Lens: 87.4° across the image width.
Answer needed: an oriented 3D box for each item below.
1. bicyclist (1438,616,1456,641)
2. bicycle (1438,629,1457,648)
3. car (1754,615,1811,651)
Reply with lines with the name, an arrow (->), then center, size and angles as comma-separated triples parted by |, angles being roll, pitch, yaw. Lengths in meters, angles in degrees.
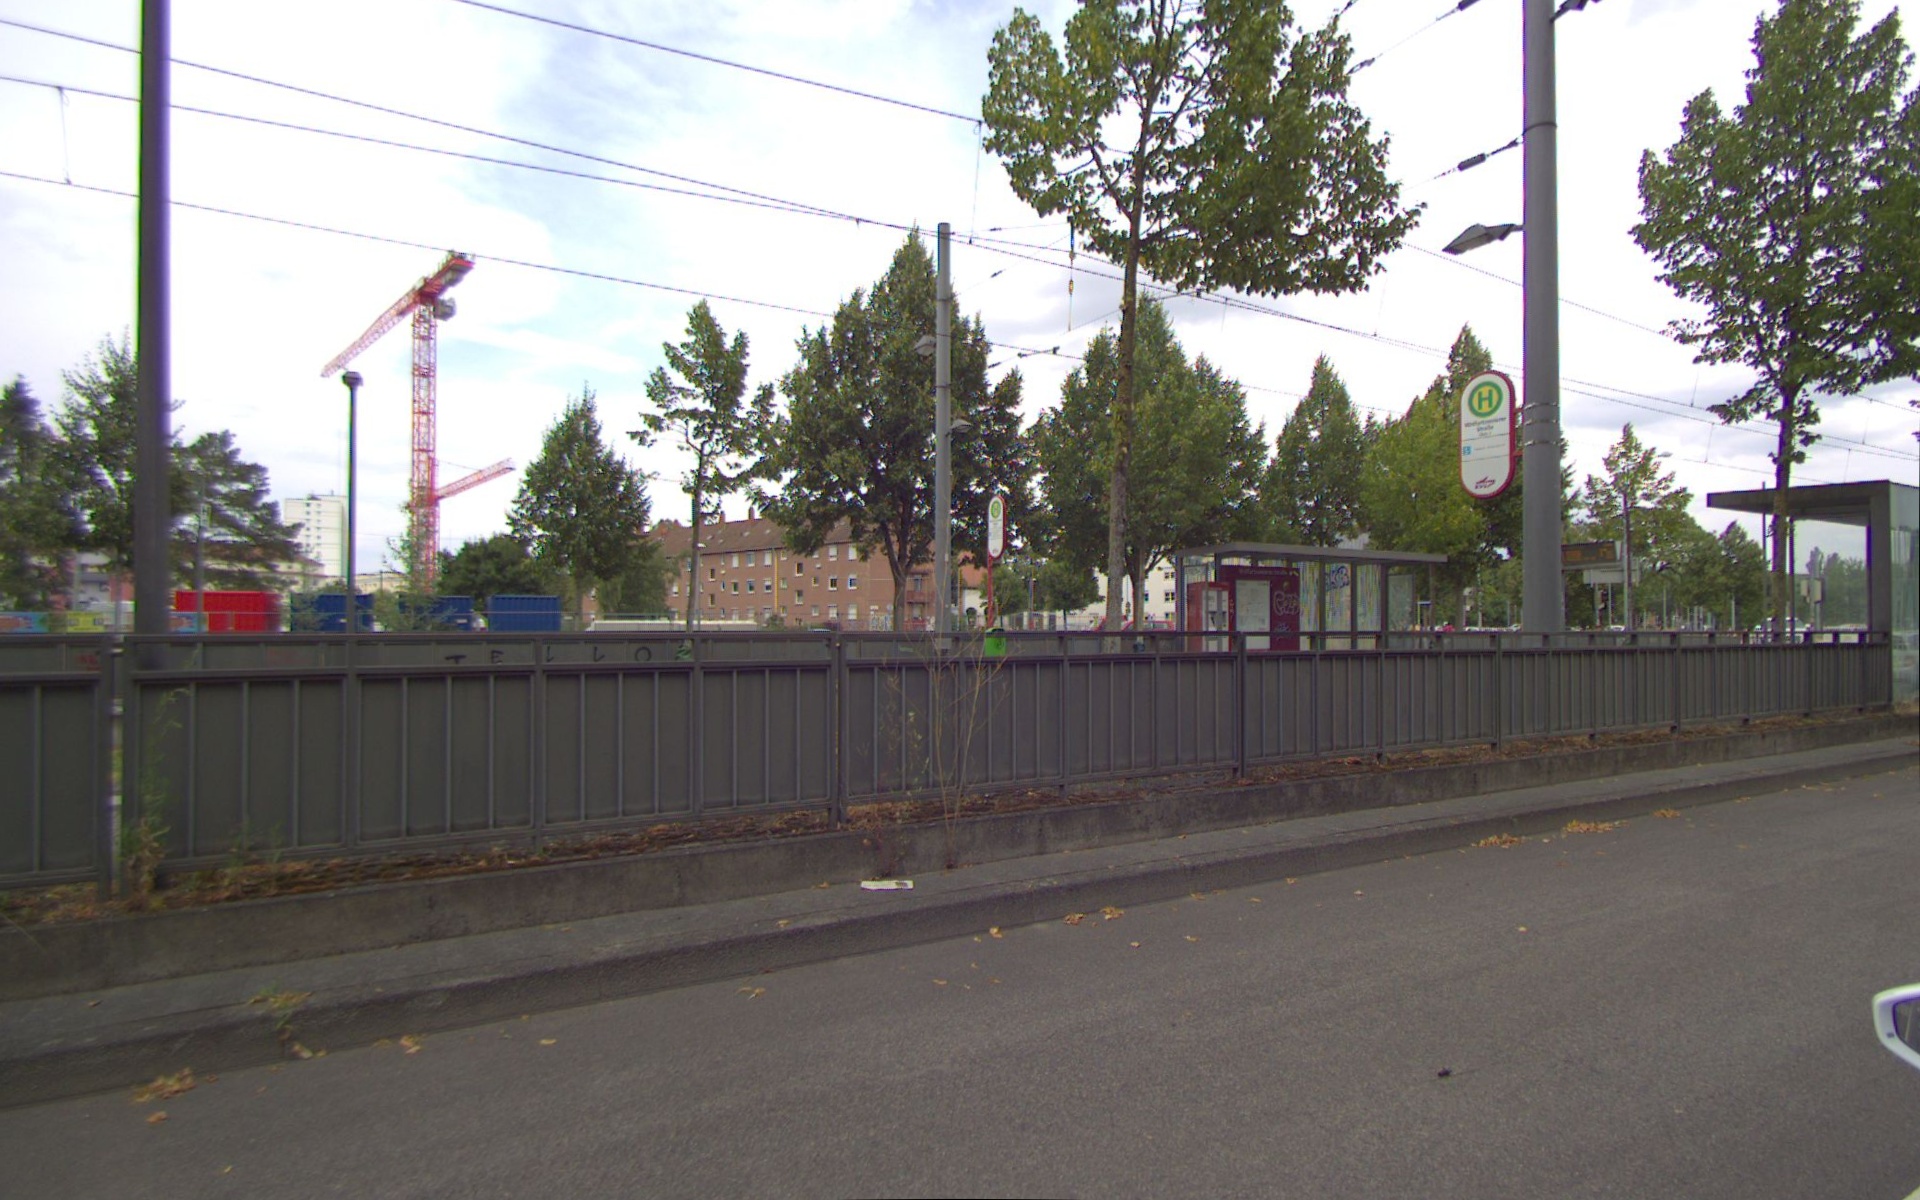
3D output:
bicyclist -> 31.474, 1.843, 64.936 | 0.873, 1.583, 0.750 | 0, -1, 16
bicycle -> 31.467, 2.475, 64.849 | 0.793, 1.144, 2.708 | -1, -1, 20
car -> 39.170, 1.540, 47.808 | 1.971, 1.639, 4.362 | -1, -2, 41
